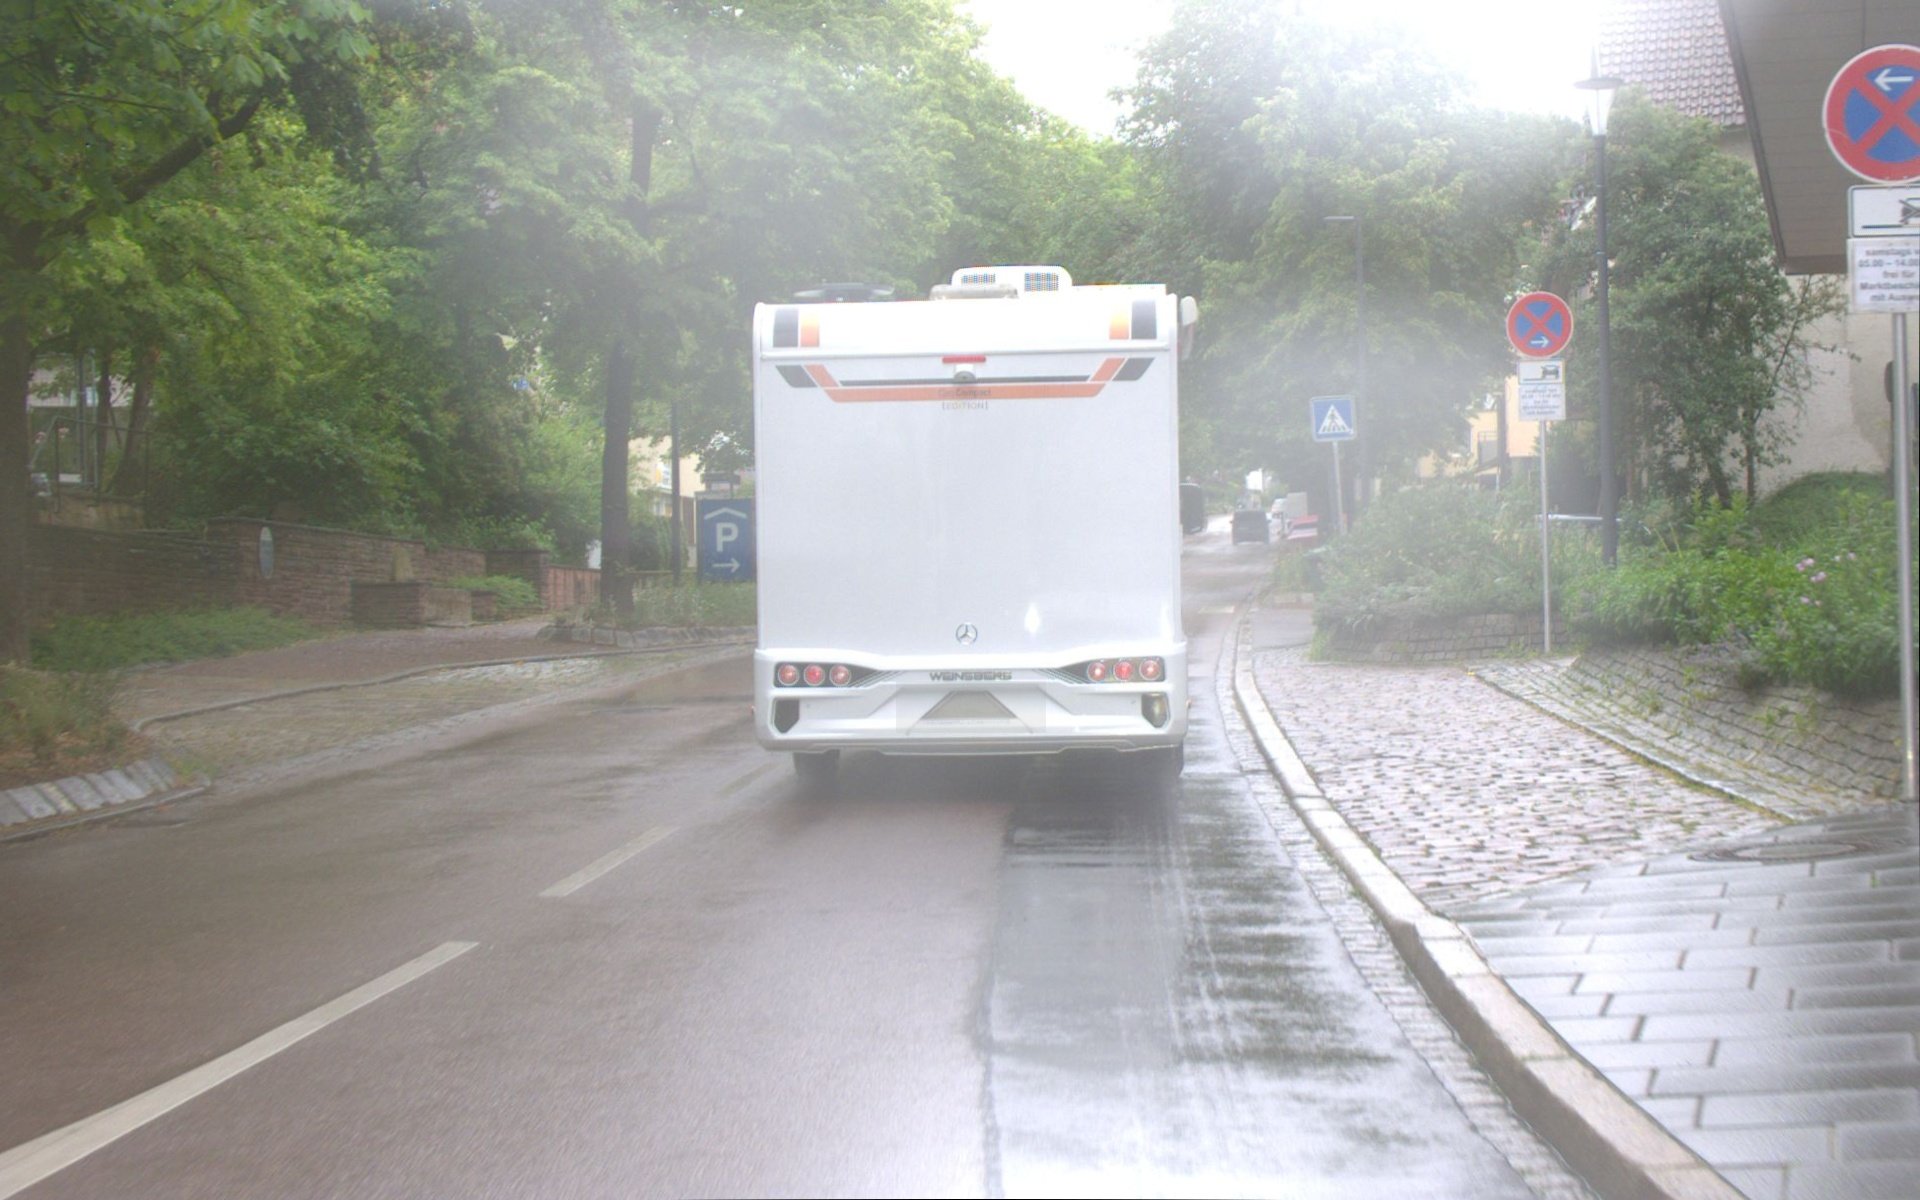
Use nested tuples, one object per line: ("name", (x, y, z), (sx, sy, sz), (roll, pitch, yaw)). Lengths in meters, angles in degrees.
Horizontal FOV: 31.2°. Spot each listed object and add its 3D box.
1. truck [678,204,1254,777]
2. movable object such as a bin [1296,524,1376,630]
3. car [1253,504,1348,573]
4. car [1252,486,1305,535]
("truck", (0.280, -0.554, 20.351), (2.806, 2.787, 6.106), (-2, 0, 5))
("movable object such as a bin", (4.084, -0.253, 37.302), (0.704, 1.120, 0.571), (-2, 0, 21))
("car", (7.487, -1.372, 75.345), (1.856, 1.467, 4.364), (0, 2, 8))
("car", (10.642, -2.976, 114.790), (1.649, 1.536, 3.530), (-2, 0, 6))
